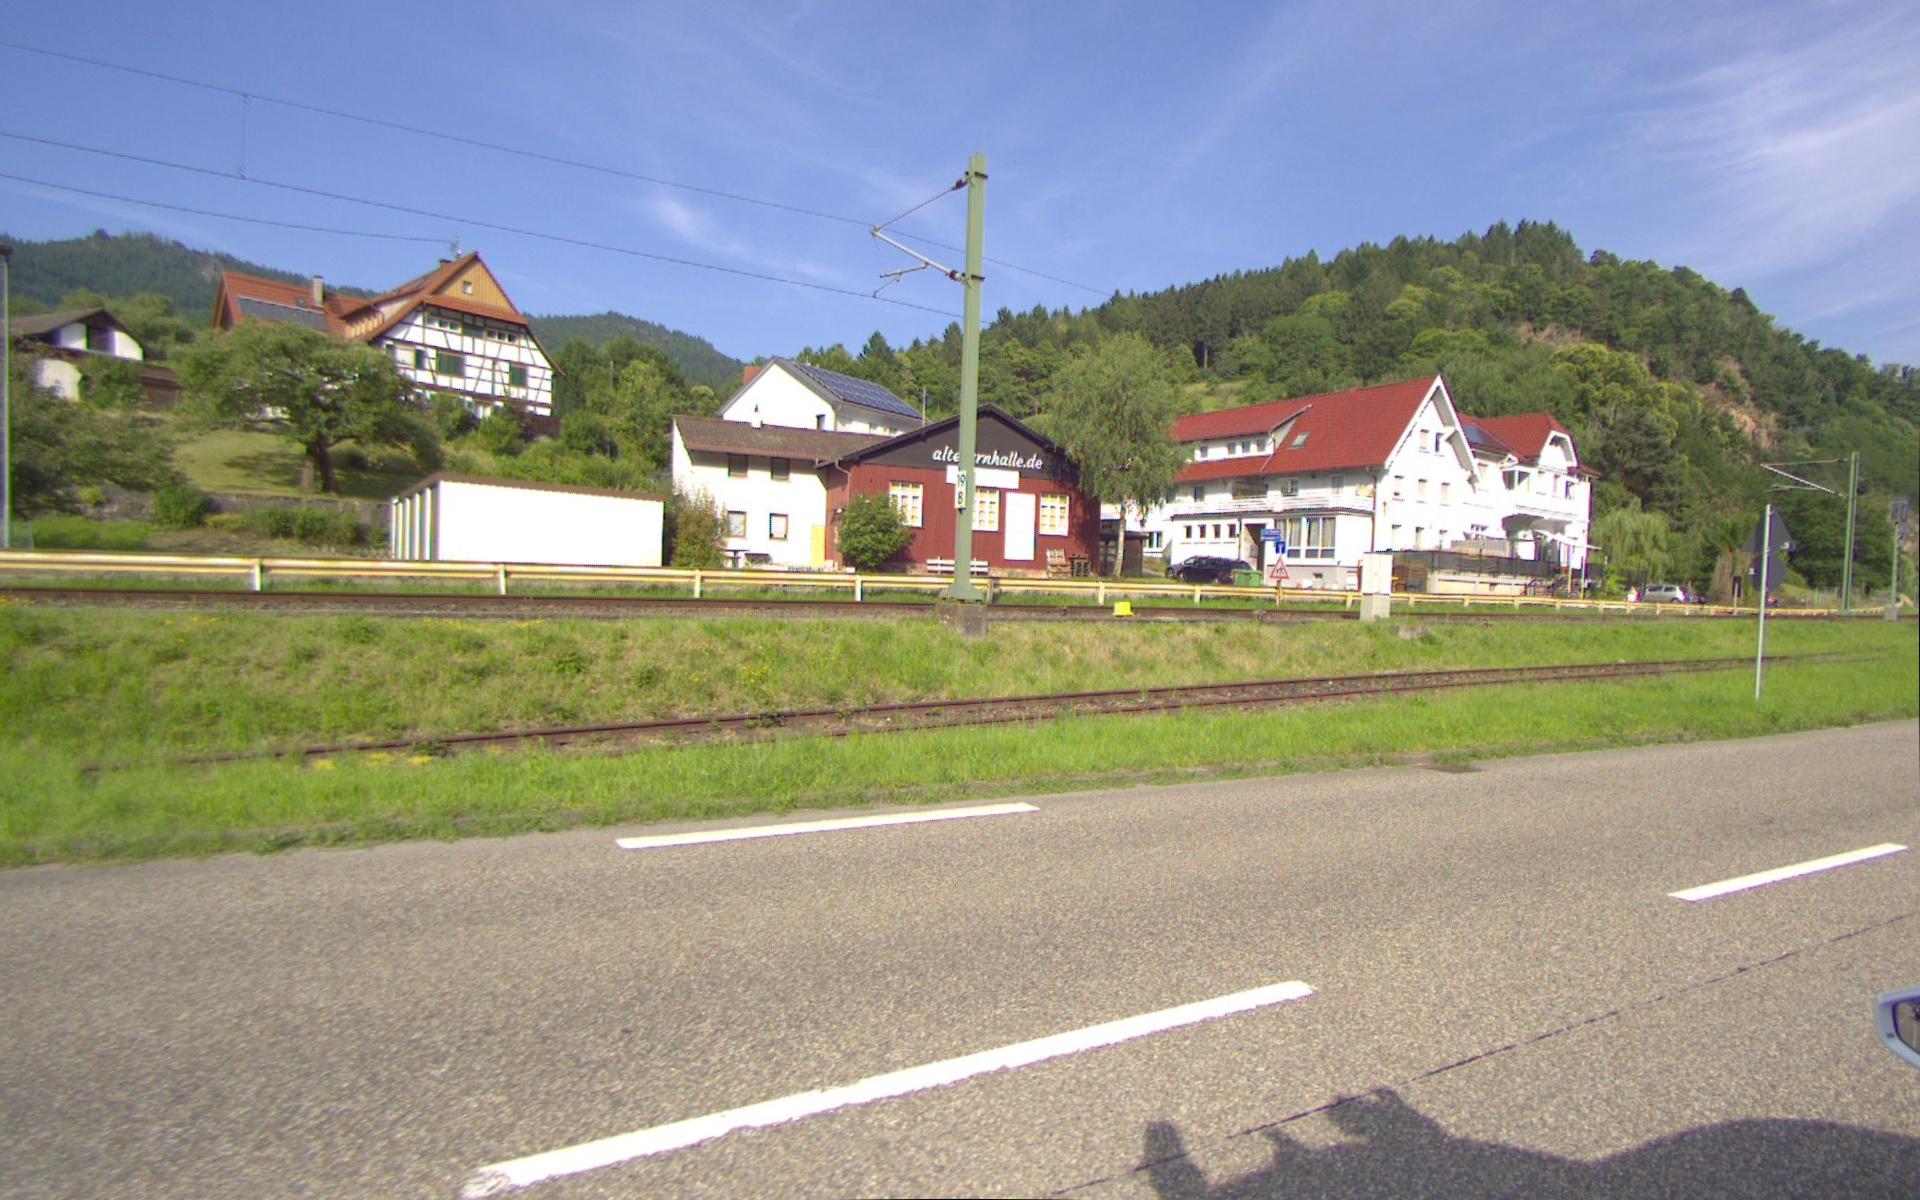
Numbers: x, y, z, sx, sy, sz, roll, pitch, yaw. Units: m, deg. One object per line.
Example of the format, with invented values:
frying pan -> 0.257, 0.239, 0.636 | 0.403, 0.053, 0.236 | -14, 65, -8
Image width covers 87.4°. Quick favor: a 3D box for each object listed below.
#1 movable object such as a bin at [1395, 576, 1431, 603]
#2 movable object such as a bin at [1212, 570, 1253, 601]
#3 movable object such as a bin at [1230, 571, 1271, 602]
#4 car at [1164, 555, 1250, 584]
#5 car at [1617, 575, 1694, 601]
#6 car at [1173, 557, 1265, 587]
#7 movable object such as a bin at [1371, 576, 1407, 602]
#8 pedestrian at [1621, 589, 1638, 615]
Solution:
movable object such as a bin -> 21.307, -0.517, 47.263 | 1.132, 1.208, 1.082 | 1, 2, -35
movable object such as a bin -> 10.901, -0.580, 40.145 | 1.084, 1.208, 1.129 | 1, 2, -40
movable object such as a bin -> 11.833, -0.543, 40.936 | 1.084, 1.208, 1.129 | 1, 2, -40
car -> 12.618, -1.590, 51.521 | 1.737, 1.347, 4.226 | 1, 2, -34
car -> 50.510, -0.862, 72.975 | 1.980, 1.714, 4.117 | 1, 2, -35
car -> 12.066, -1.335, 47.037 | 1.718, 1.288, 4.070 | 1, 2, -33
movable object such as a bin -> 20.576, -0.538, 48.164 | 1.132, 1.208, 1.082 | 1, 2, -35
pedestrian -> 42.925, 0.135, 64.403 | 0.671, 1.638, 0.602 | 0, 3, -38
